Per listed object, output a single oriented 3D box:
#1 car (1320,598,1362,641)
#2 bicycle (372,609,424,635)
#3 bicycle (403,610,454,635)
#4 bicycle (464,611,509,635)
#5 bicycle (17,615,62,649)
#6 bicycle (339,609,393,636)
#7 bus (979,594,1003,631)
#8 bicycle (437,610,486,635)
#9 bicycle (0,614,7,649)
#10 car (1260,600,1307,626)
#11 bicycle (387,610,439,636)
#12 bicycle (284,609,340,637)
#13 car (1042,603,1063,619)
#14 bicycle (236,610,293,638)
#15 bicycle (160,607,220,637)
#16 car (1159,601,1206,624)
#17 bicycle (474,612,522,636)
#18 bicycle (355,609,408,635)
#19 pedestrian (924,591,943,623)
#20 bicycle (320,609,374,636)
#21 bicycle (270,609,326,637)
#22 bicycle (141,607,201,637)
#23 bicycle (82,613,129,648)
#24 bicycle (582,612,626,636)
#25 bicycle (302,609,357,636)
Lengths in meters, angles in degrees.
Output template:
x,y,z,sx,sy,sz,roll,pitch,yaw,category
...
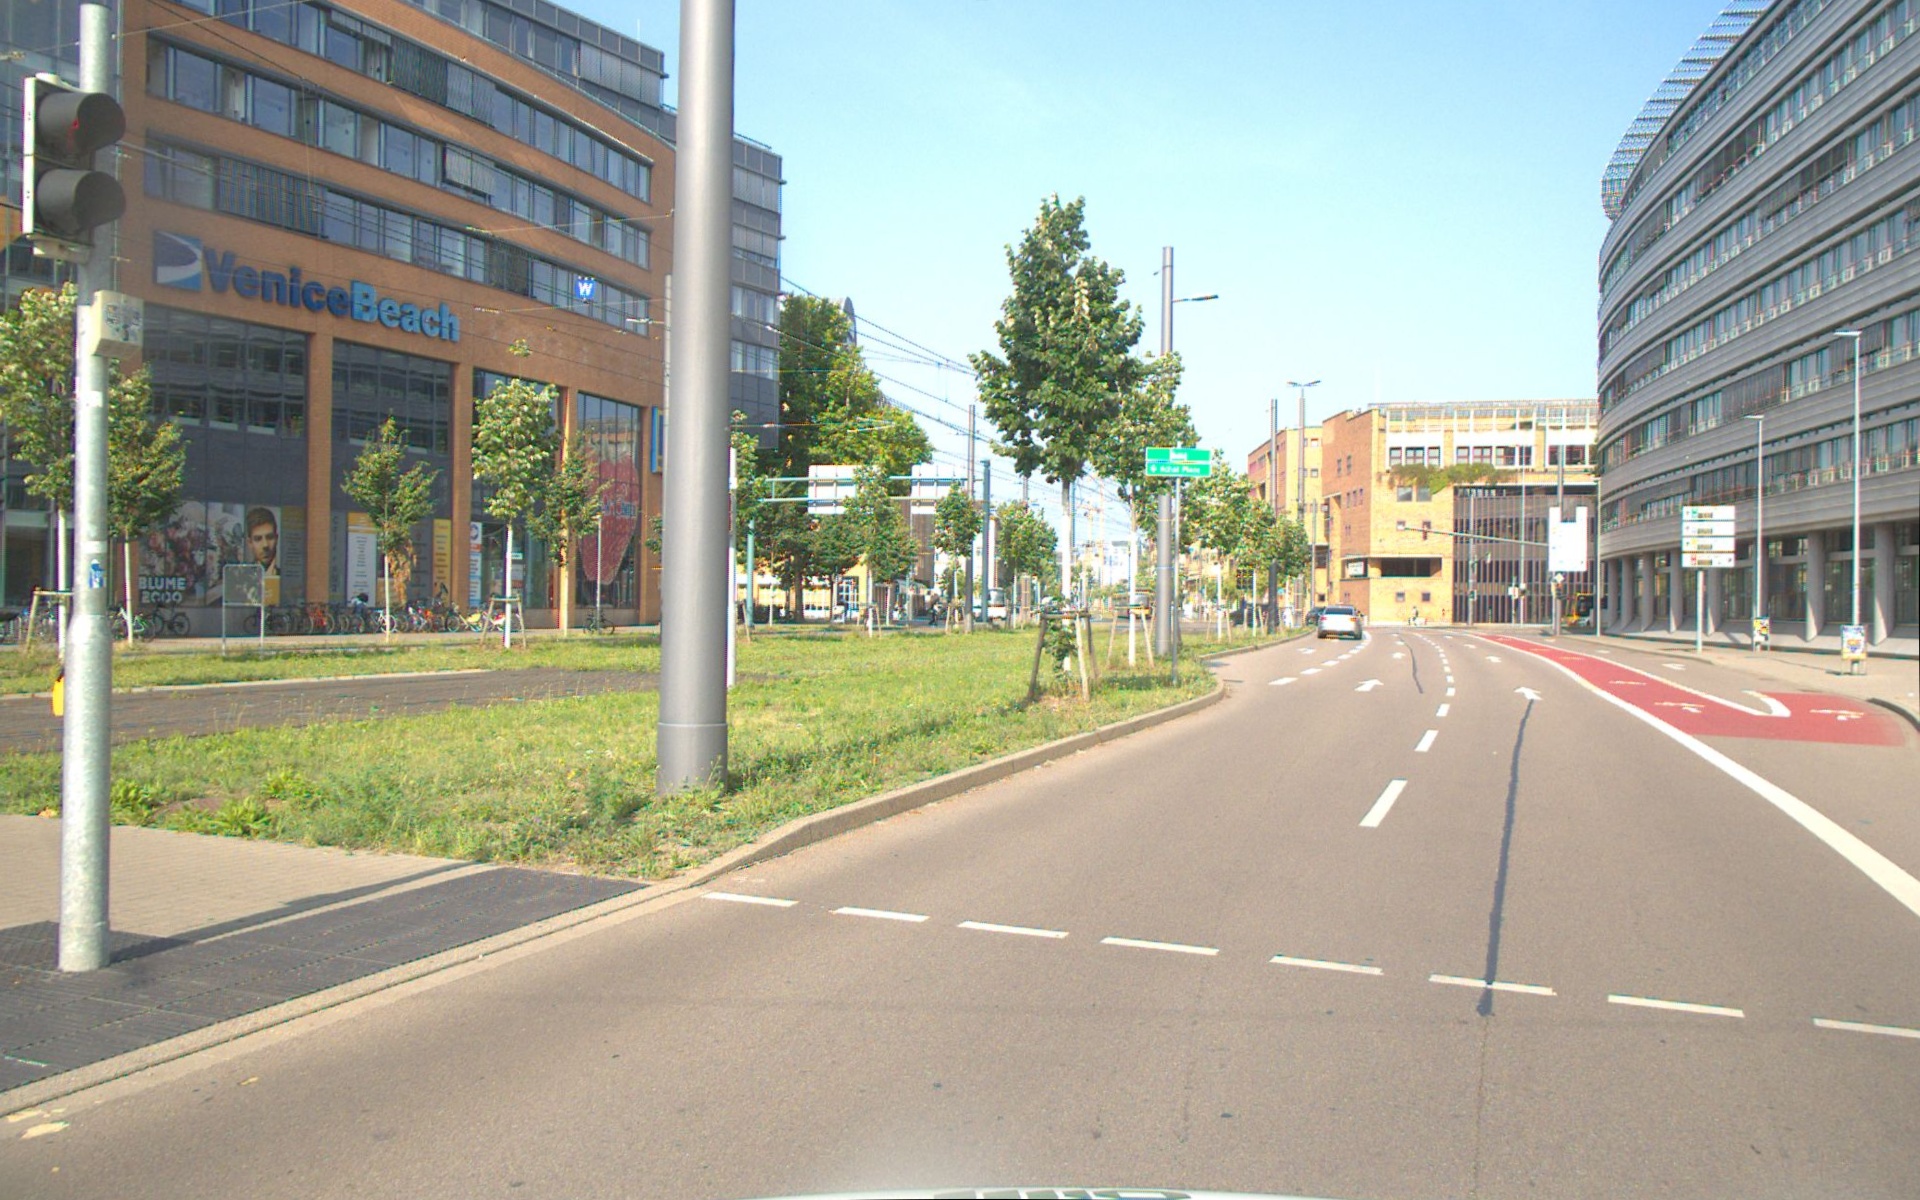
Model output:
x,y,z,sx,sy,sz,roll,pitch,yaw,category
16.873,0.886,73.142,1.669,1.786,3.893,0,-2,15,car
-21.054,0.818,61.924,2.007,0.937,0.573,1,0,25,bicycle
-20.435,0.846,63.608,2.007,0.937,0.573,1,0,25,bicycle
-19.077,0.936,66.625,2.007,0.937,0.380,1,0,25,bicycle
-25.097,0.881,45.097,1.435,0.845,0.256,3,-1,27,bicycle
-21.671,0.809,60.316,2.007,0.937,0.573,1,0,25,bicycle
3.584,1.485,192.401,2.690,3.990,12.217,1,-2,1,bus
-19.615,0.893,65.069,2.007,0.937,0.573,1,0,25,bicycle
-25.801,0.828,43.728,1.435,0.902,0.256,0,-2,27,bicycle
23.280,0.949,119.047,1.959,1.708,3.987,0,-2,34,car
-20.756,0.869,62.765,2.007,0.937,0.573,1,0,25,bicycle
-22.683,0.789,57.887,2.007,0.937,0.573,1,0,25,bicycle
9.311,1.083,166.411,1.692,1.569,3.450,1,0,10,car
-23.510,0.805,55.888,2.007,0.937,0.573,1,0,25,bicycle
-24.799,0.714,53.250,2.007,0.937,0.573,1,0,25,bicycle
17.259,0.960,128.386,3.535,1.652,1.869,1,0,10,car
-18.812,0.959,67.312,2.007,0.937,0.573,1,0,25,bicycle
-21.390,0.798,61.133,2.007,0.937,0.573,1,0,25,bicycle
-1.731,0.455,107.400,1.131,2.049,0.776,1,-2,1,pedestrian
-22.043,0.807,59.477,2.007,0.937,0.573,1,0,25,bicycle
-22.928,0.792,57.290,2.007,0.937,0.573,1,0,25,bicycle
-25.076,0.691,52.568,2.007,0.937,0.573,1,0,25,bicycle
-24.326,0.862,47.079,1.549,0.956,0.410,1,0,31,bicycle
-14.100,0.951,65.494,1.644,0.923,0.708,1,-1,30,bicycle
-22.381,0.784,58.707,2.007,0.937,0.573,1,0,25,bicycle
